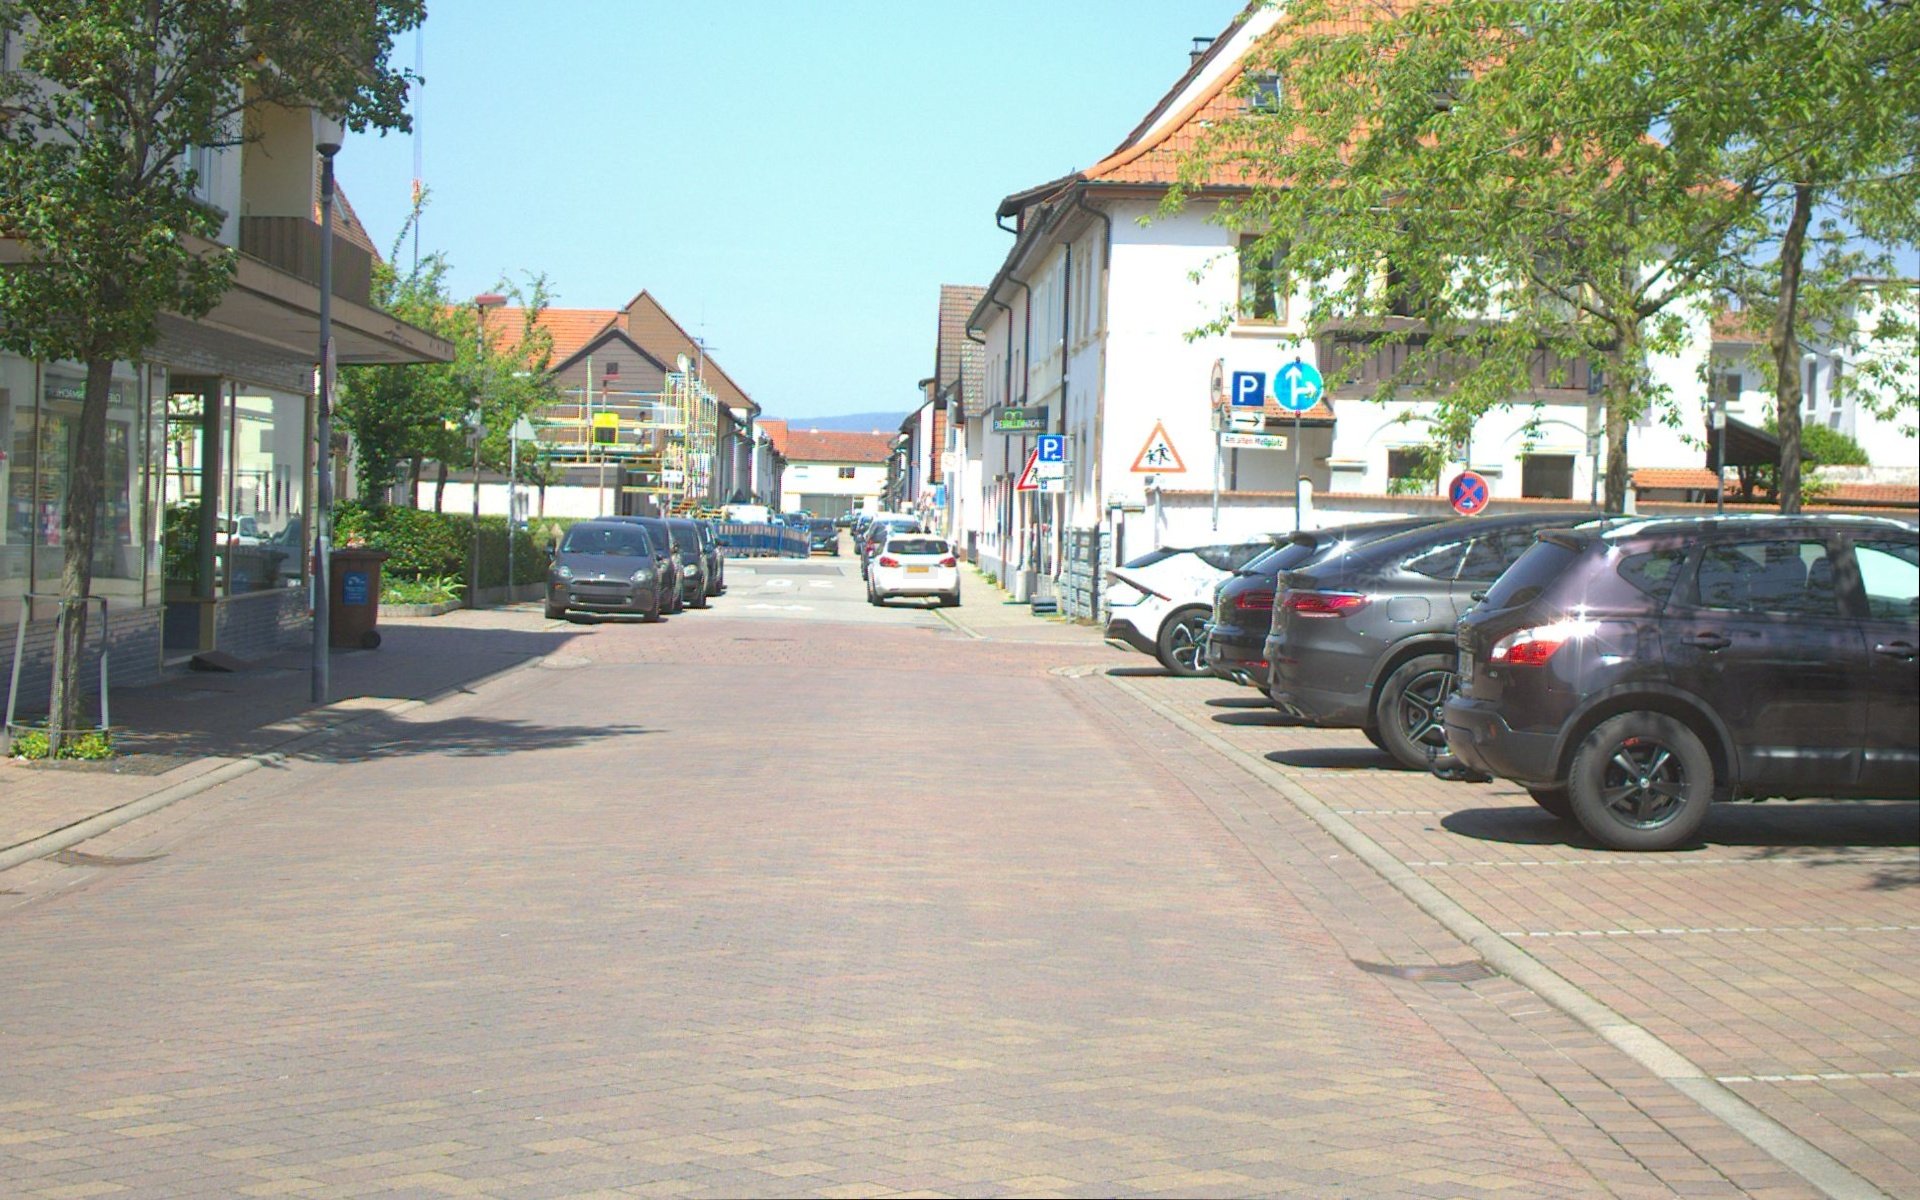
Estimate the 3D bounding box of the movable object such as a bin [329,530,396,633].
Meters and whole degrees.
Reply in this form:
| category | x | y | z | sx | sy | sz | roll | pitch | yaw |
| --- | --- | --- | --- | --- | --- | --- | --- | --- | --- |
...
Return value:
| category | x | y | z | sx | sy | sz | roll | pitch | yaw |
| --- | --- | --- | --- | --- | --- | --- | --- | --- | --- |
| movable object such as a bin | -6.417 | -0.206 | 36.946 | 0.655 | 1.066 | 0.664 | 2 | 1 | -8 |

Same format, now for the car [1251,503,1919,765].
| category | x | y | z | sx | sy | sz | roll | pitch | yaw |
| --- | --- | --- | --- | --- | --- | --- | --- | --- | --- |
| car | 4.176 | 0.184 | 21.981 | 4.508 | 1.583 | 1.850 | 0 | 2 | 2 |

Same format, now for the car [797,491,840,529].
| category | x | y | z | sx | sy | sz | roll | pitch | yaw |
| --- | --- | --- | --- | --- | --- | --- | --- | --- | --- |
| car | -6.447 | -4.101 | 156.571 | 1.881 | 1.662 | 4.154 | 2 | 2 | -3 |

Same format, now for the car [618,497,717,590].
| category | x | y | z | sx | sy | sz | roll | pitch | yaw |
| --- | --- | --- | --- | --- | --- | --- | --- | --- | --- |
| car | -5.429 | -1.078 | 64.151 | 1.637 | 1.623 | 3.769 | 1 | 2 | -2 |

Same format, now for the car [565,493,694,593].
| category | x | y | z | sx | sy | sz | roll | pitch | yaw |
| --- | --- | --- | --- | --- | --- | --- | --- | --- | --- |
| car | -5.585 | -0.994 | 58.471 | 1.815 | 1.599 | 4.025 | 1 | 2 | -1 |

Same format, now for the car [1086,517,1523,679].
| category | x | y | z | sx | sy | sz | roll | pitch | yaw |
| --- | --- | --- | --- | --- | --- | --- | --- | --- | --- |
| car | 3.698 | -0.041 | 37.374 | 4.439 | 1.570 | 1.789 | 2 | 2 | -4 |

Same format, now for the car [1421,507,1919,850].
| category | x | y | z | sx | sy | sz | roll | pitch | yaw |
| --- | --- | --- | --- | --- | --- | --- | --- | --- | --- |
| car | 4.410 | 0.345 | 17.028 | 4.027 | 1.606 | 1.681 | 0 | 1 | 0 |

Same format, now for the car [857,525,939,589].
| category | x | y | z | sx | sy | sz | roll | pitch | yaw |
| --- | --- | --- | --- | --- | --- | --- | --- | --- | --- |
| car | -1.658 | -1.163 | 91.057 | 1.884 | 1.550 | 3.895 | -2 | 2 | -5 |

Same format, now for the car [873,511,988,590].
| category | x | y | z | sx | sy | sz | roll | pitch | yaw |
| --- | --- | --- | --- | --- | --- | --- | --- | --- | --- |
| car | -0.575 | -1.047 | 71.268 | 1.887 | 1.536 | 4.242 | 2 | 2 | 6 |

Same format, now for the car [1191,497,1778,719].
| category | x | y | z | sx | sy | sz | roll | pitch | yaw |
| --- | --- | --- | --- | --- | --- | --- | --- | --- | --- |
| car | 4.089 | 0.038 | 27.310 | 4.278 | 1.675 | 2.001 | 0 | 2 | -3 |

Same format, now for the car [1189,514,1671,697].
| category | x | y | z | sx | sy | sz | roll | pitch | yaw |
| --- | --- | --- | --- | --- | --- | --- | --- | --- | --- |
| car | 4.080 | 0.022 | 30.280 | 3.943 | 1.528 | 1.824 | -1 | 1 | -2 |

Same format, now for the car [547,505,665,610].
| category | x | y | z | sx | sy | sz | roll | pitch | yaw |
| --- | --- | --- | --- | --- | --- | --- | --- | --- | --- |
| car | -5.385 | -0.673 | 52.531 | 1.702 | 1.491 | 3.858 | 1 | 2 | -5 |
